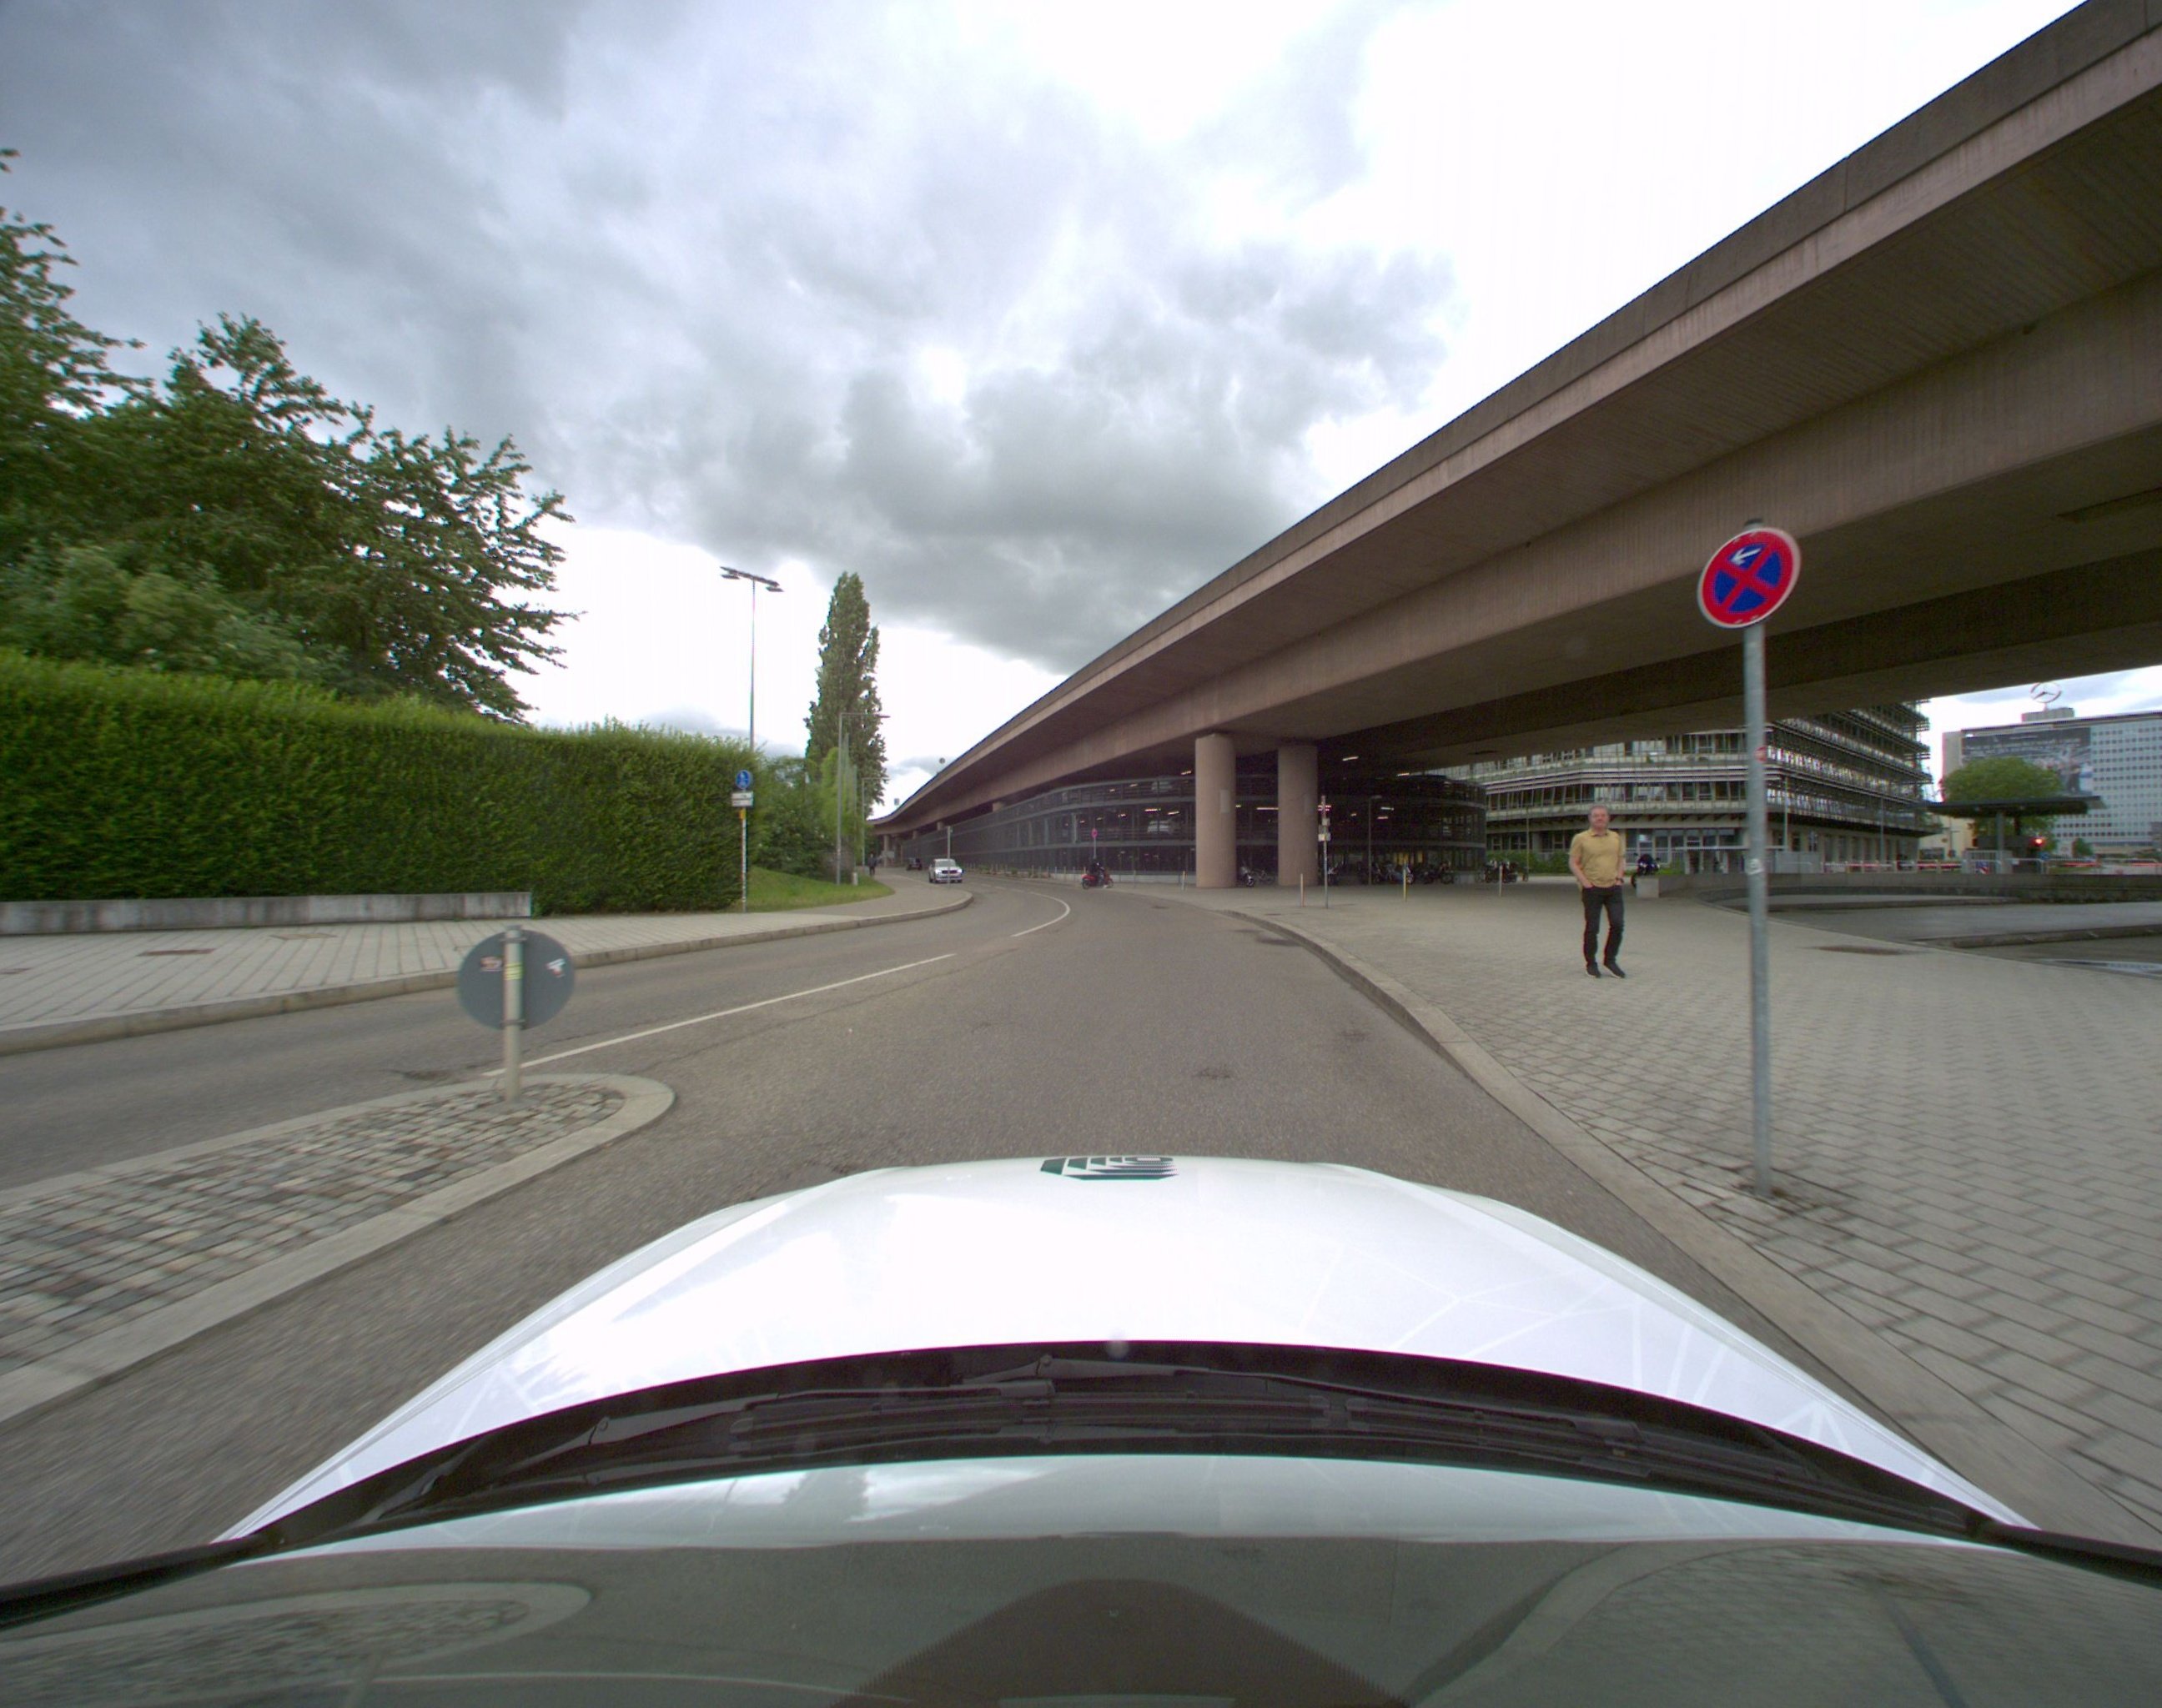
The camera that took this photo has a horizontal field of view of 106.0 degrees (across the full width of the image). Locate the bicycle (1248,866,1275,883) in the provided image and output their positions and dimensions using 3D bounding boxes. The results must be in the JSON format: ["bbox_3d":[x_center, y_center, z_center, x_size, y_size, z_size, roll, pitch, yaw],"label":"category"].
[{"bbox_3d":[10.390,1.195,46.931,1.463,0.976,0.453,0,1,8],"label":"bicycle"}]

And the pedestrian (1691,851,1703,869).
[{"bbox_3d":[49.910,0.489,65.994,0.541,1.481,0.496,0,1,-2],"label":"pedestrian"}]

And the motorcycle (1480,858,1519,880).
[{"bbox_3d":[25.480,0.916,49.613,0.673,1.275,2.351,0,1,-16],"label":"motorcycle"}]

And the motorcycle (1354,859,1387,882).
[{"bbox_3d":[16.245,0.927,45.798,0.673,1.220,2.067,0,1,-16],"label":"motorcycle"}]

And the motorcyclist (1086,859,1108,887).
[{"bbox_3d":[0.808,0.956,41.287,0.869,1.419,0.759,0,1,-19],"label":"motorcyclist"}]

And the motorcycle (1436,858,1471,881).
[{"bbox_3d":[21.585,0.877,47.200,0.673,1.220,2.067,0,1,-16],"label":"motorcycle"}]

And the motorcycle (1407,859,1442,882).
[{"bbox_3d":[19.553,0.921,46.404,0.673,1.220,2.067,0,1,-16],"label":"motorcycle"}]

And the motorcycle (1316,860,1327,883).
[{"bbox_3d":[12.975,0.936,43.965,0.516,1.220,1.155,0,1,14],"label":"motorcycle"}]

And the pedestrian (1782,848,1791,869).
[{"bbox_3d":[52.462,0.333,60.524,0.490,1.481,0.548,0,1,41],"label":"pedestrian"}]

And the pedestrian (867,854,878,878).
[{"bbox_3d":[-15.947,0.924,62.234,0.805,1.781,0.915,0,1,-17],"label":"pedestrian"}]

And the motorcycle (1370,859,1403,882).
[{"bbox_3d":[17.219,0.921,46.006,0.673,1.220,2.067,0,1,-16],"label":"motorcycle"}]

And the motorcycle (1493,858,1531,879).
[{"bbox_3d":[26.638,0.898,50.381,0.673,1.220,2.351,0,1,-16],"label":"motorcycle"}]

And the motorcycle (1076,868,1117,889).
[{"bbox_3d":[0.776,1.239,41.265,1.956,1.022,0.744,0,1,-19],"label":"motorcycle"}]

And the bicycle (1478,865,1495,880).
[{"bbox_3d":[26.152,1.169,52.468,1.513,0.895,0.470,-1,1,-42],"label":"bicycle"}]

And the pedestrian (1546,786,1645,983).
[{"bbox_3d":[5.626,0.304,8.971,0.775,2.013,1.045,0,1,24],"label":"pedestrian"}]

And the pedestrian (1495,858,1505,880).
[{"bbox_3d":[37.975,1.349,73.826,0.527,2.014,0.572,1,-1,-8],"label":"pedestrian"}]

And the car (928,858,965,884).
[{"bbox_3d":[-9.346,1.144,56.488,1.870,1.683,4.378,0,1,-19],"label":"car"}]

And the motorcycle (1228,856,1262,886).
[{"bbox_3d":[8.243,0.842,41.035,0.646,1.455,1.744,-1,1,-33],"label":"motorcycle"}]

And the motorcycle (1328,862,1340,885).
[{"bbox_3d":[12.878,0.985,41.433,0.516,1.171,1.156,0,-2,19],"label":"motorcycle"}]

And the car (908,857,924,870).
[{"bbox_3d":[-22.862,1.327,112.618,1.844,1.711,3.685,0,1,-17],"label":"car"}]

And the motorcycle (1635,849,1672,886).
[{"bbox_3d":[20.120,0.459,28.617,1.950,1.264,0.542,-1,1,-39],"label":"motorcycle"}]

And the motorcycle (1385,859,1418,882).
[{"bbox_3d":[18.270,0.933,46.445,0.673,1.220,2.067,0,1,-16],"label":"motorcycle"}]

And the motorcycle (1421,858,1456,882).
[{"bbox_3d":[20.564,0.898,46.864,0.673,1.286,2.067,0,1,-16],"label":"motorcycle"}]

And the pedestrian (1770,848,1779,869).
[{"bbox_3d":[51.656,0.333,60.689,0.490,1.481,0.548,0,1,41],"label":"pedestrian"}]

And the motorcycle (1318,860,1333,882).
[{"bbox_3d":[13.599,0.944,45.258,0.518,1.220,1.151,0,1,1],"label":"motorcycle"}]
